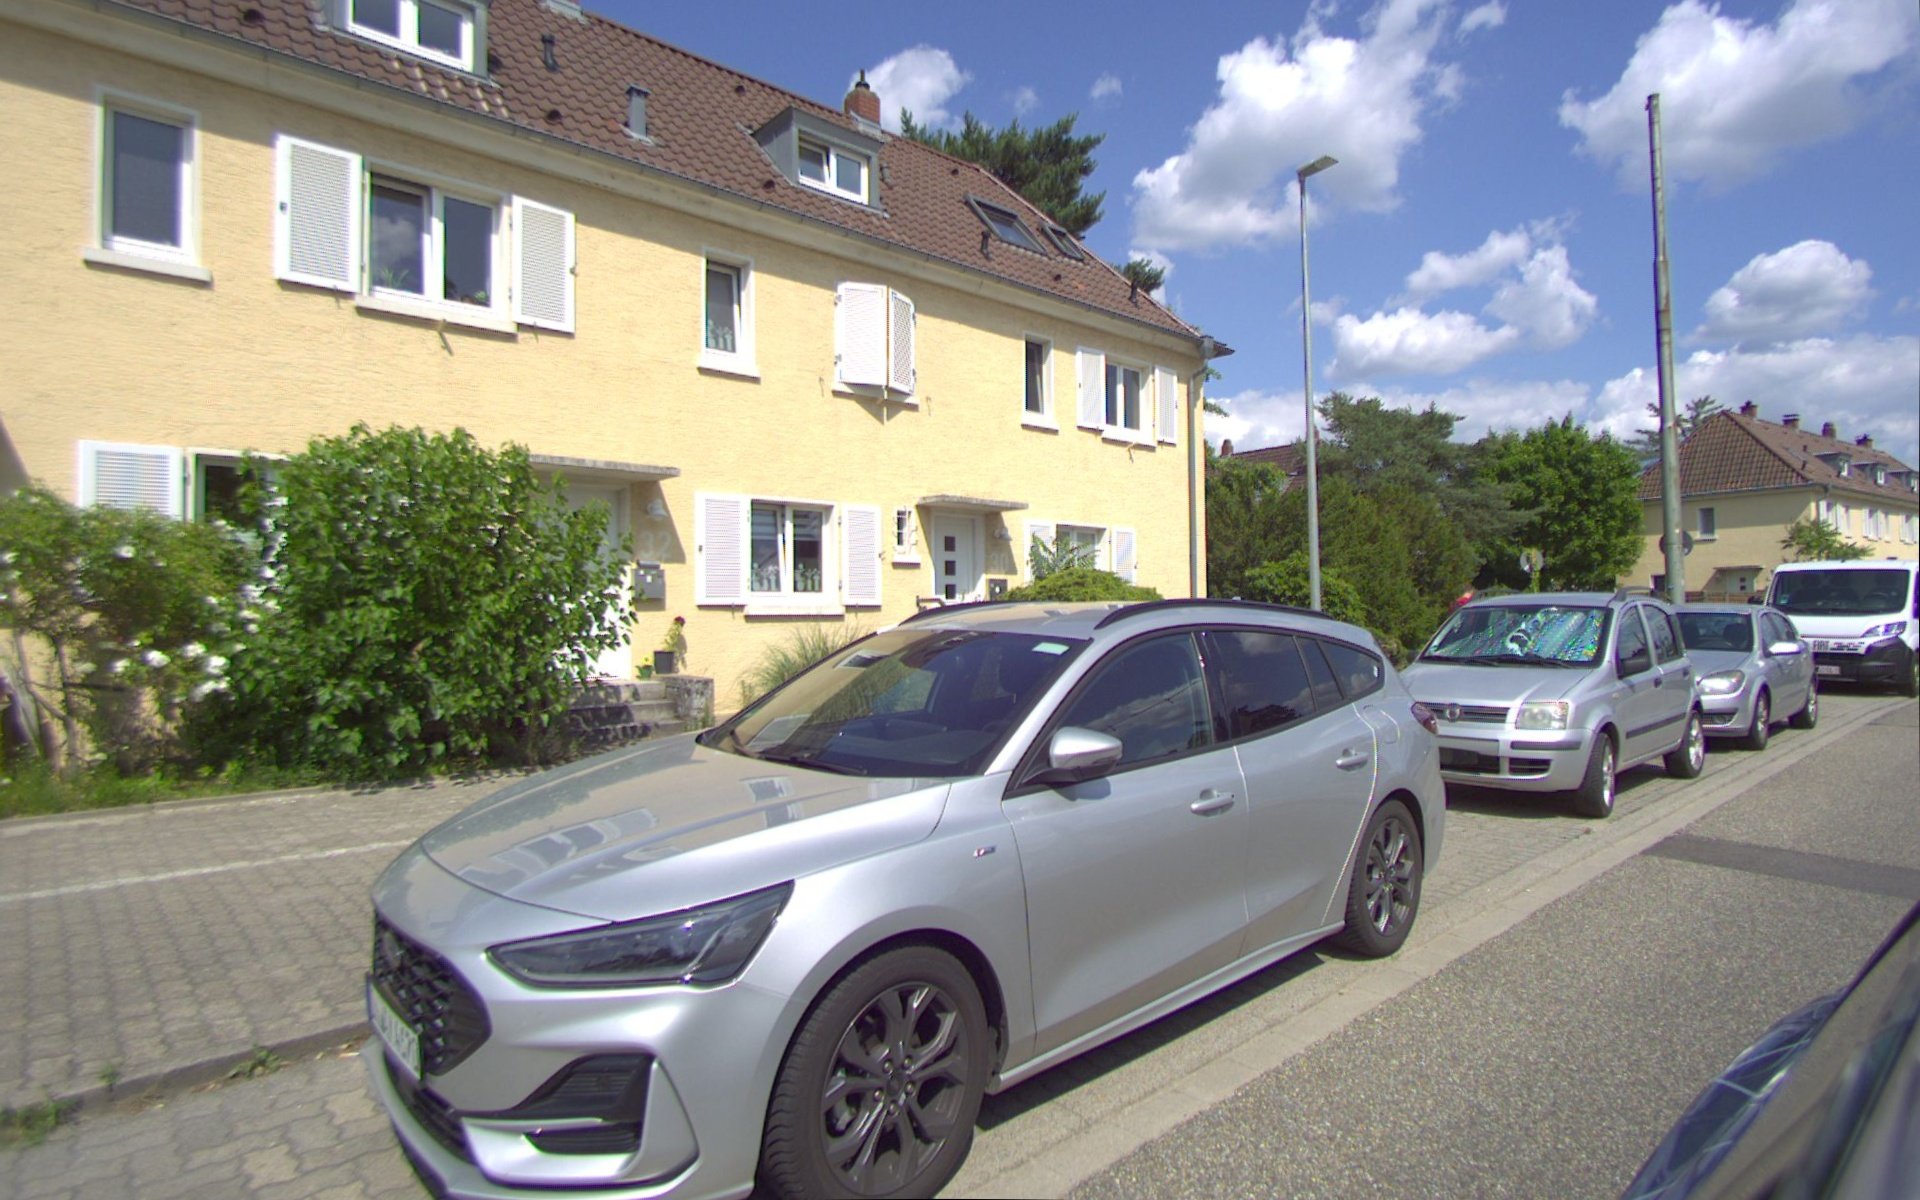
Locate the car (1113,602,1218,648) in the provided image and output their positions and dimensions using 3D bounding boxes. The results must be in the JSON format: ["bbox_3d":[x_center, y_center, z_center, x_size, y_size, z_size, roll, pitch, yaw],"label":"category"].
[{"bbox_3d":[8.464,1.013,41.922,1.703,1.709,4.122,-4,1,-36],"label":"car"}]

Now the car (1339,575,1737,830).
[{"bbox_3d":[4.742,0.631,8.092,3.743,1.570,1.630,0,-1,-41],"label":"car"}]

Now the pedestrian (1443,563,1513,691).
[{"bbox_3d":[8.596,0.438,16.792,0.748,2.039,0.774,0,-2,-40],"label":"pedestrian"}]

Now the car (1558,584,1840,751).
[{"bbox_3d":[8.322,0.620,11.253,4.182,1.523,1.710,0,-1,-42],"label":"car"}]

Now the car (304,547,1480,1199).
[{"bbox_3d":[0.201,0.652,3.836,4.310,1.516,1.752,-1,0,-42],"label":"car"}]

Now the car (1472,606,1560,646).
[{"bbox_3d":[20.713,0.968,37.664,3.863,1.416,1.563,2,-2,-40],"label":"car"}]

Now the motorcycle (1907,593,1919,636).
[{"bbox_3d":[34.185,0.502,35.400,2.536,1.488,1.051,0,1,-35],"label":"motorcycle"}]

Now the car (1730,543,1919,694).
[{"bbox_3d":[15.774,0.275,17.576,6.251,2.210,2.282,0,-1,-38],"label":"car"}]
